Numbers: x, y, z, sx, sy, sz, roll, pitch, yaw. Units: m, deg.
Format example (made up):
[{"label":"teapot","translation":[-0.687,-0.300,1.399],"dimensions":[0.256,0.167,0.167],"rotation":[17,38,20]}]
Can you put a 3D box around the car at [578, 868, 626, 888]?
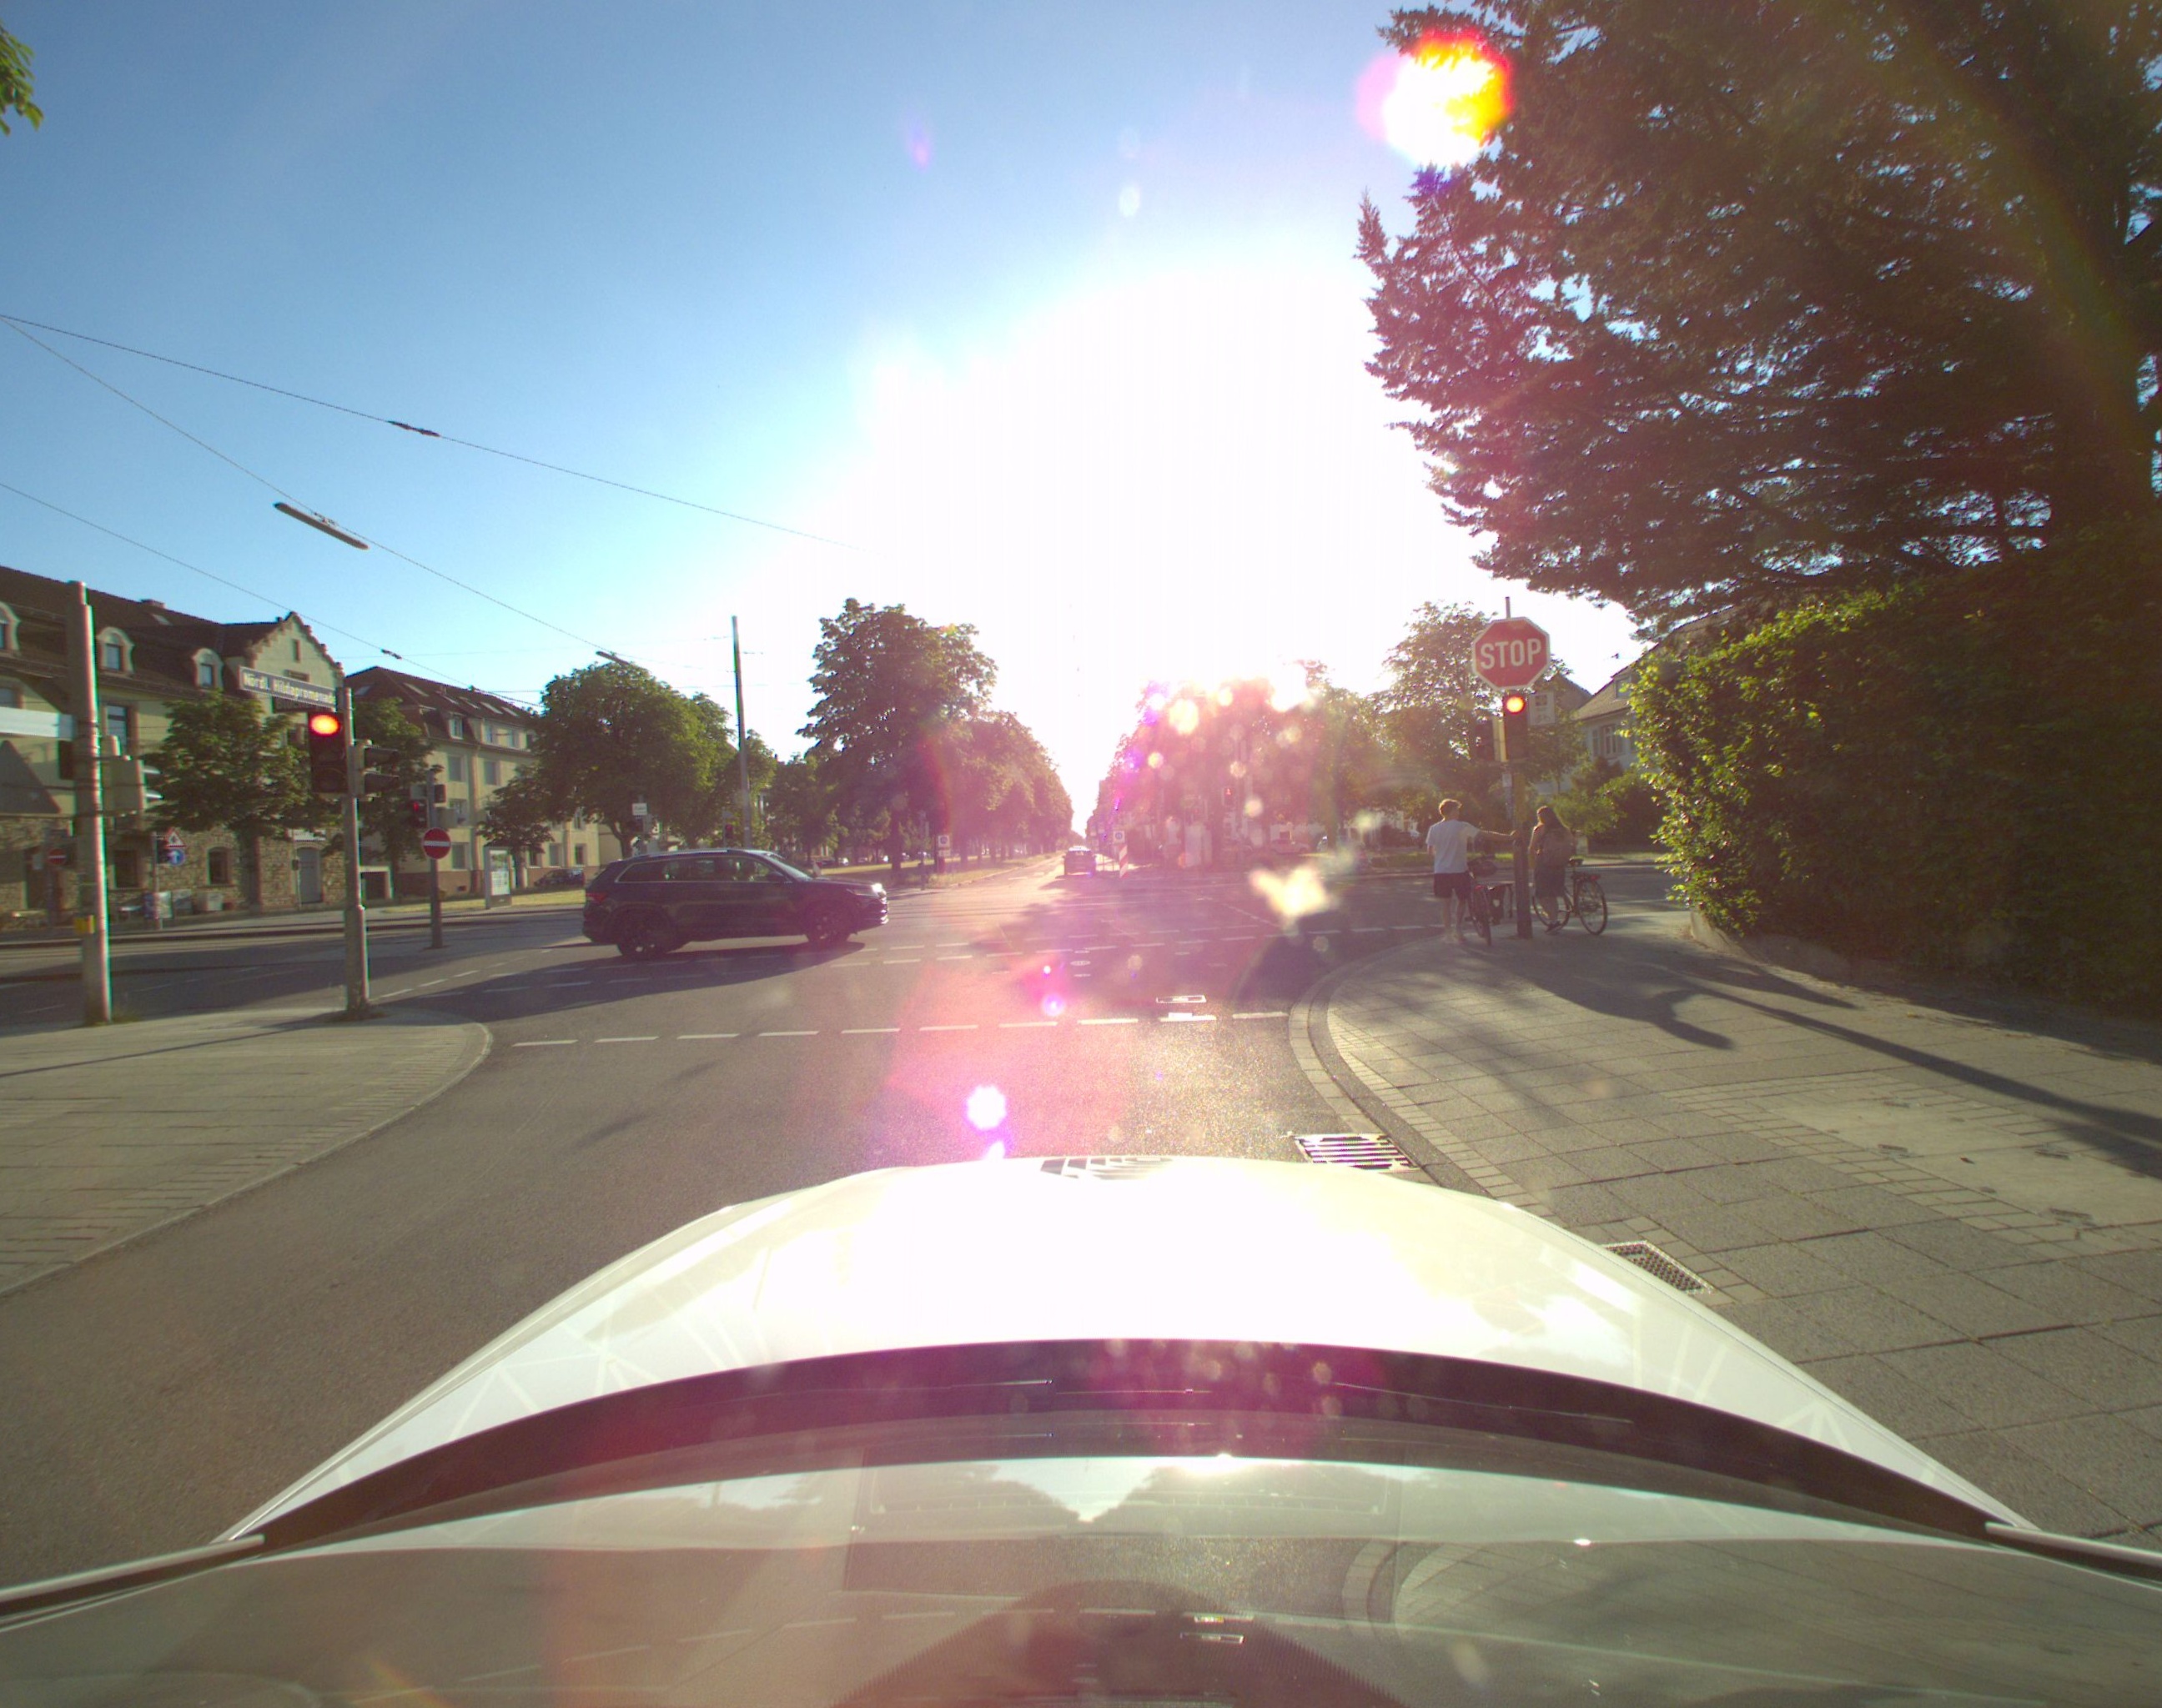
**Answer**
[{"label":"car","translation":[-43.061,2.142,73.275],"dimensions":[1.729,1.427,3.800],"rotation":[-2,2,6]}]

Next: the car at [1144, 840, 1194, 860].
[{"label":"car","translation":[7.011,-0.312,64.983],"dimensions":[3.767,1.427,1.744],"rotation":[-2,2,0]}]

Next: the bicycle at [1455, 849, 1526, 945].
[{"label":"bicycle","translation":[5.265,0.512,10.545],"dimensions":[0.483,1.097,1.799],"rotation":[-5,-1,19]}]

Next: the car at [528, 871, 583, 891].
[{"label":"car","translation":[-43.107,2.215,66.858],"dimensions":[1.729,1.397,3.799],"rotation":[-2,0,6]}]

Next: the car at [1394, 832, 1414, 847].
[{"label":"car","translation":[33.117,-1.487,83.471],"dimensions":[1.649,1.417,3.563],"rotation":[-3,0,24]}]

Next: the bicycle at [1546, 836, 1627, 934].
[{"label":"bicycle","translation":[6.502,0.360,10.542],"dimensions":[0.483,1.142,1.606],"rotation":[-5,0,19]}]

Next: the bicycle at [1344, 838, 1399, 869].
[{"label":"bicycle","translation":[11.649,-0.019,32.707],"dimensions":[1.946,1.132,0.620],"rotation":[-3,0,2]}]

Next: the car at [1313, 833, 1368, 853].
[{"label":"car","translation":[20.903,-0.889,65.696],"dimensions":[3.838,1.427,1.595],"rotation":[-2,0,-4]}]

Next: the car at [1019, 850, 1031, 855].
[{"label":"car","translation":[-16.739,-0.389,245.224],"dimensions":[3.510,1.427,1.602],"rotation":[-2,0,-1]}]

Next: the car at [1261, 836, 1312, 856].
[{"label":"car","translation":[16.391,-0.631,65.030],"dimensions":[3.656,1.427,1.529],"rotation":[-2,0,-4]}]

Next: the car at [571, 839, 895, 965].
[{"label":"car","translation":[-5.538,0.720,13.582],"dimensions":[4.548,1.663,1.873],"rotation":[-3,0,-10]}]

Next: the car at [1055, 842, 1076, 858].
[{"label":"car","translation":[-1.440,-0.415,78.027],"dimensions":[1.839,1.393,3.829],"rotation":[-2,1,1]}]

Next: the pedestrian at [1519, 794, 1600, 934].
[{"label":"pedestrian","translation":[6.176,0.123,10.549],"dimensions":[0.663,1.708,0.626],"rotation":[-6,1,20]}]

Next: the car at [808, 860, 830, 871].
[{"label":"car","translation":[-37.691,1.601,117.256],"dimensions":[1.732,1.427,3.793],"rotation":[-2,0,1]}]

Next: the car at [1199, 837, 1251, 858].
[{"label":"car","translation":[11.511,-0.510,65.202],"dimensions":[3.767,1.525,1.744],"rotation":[-2,2,0]}]

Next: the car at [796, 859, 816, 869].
[{"label":"car","translation":[-43.071,1.523,127.640],"dimensions":[1.732,1.427,3.793],"rotation":[-2,0,1]}]

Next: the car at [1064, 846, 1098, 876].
[{"label":"car","translation":[0.039,0.350,44.021],"dimensions":[1.634,1.450,3.310],"rotation":[-2,1,3]}]

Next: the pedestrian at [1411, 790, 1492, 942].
[{"label":"pedestrian","translation":[4.864,0.154,10.764],"dimensions":[0.665,1.865,0.886],"rotation":[-8,-3,19]}]
